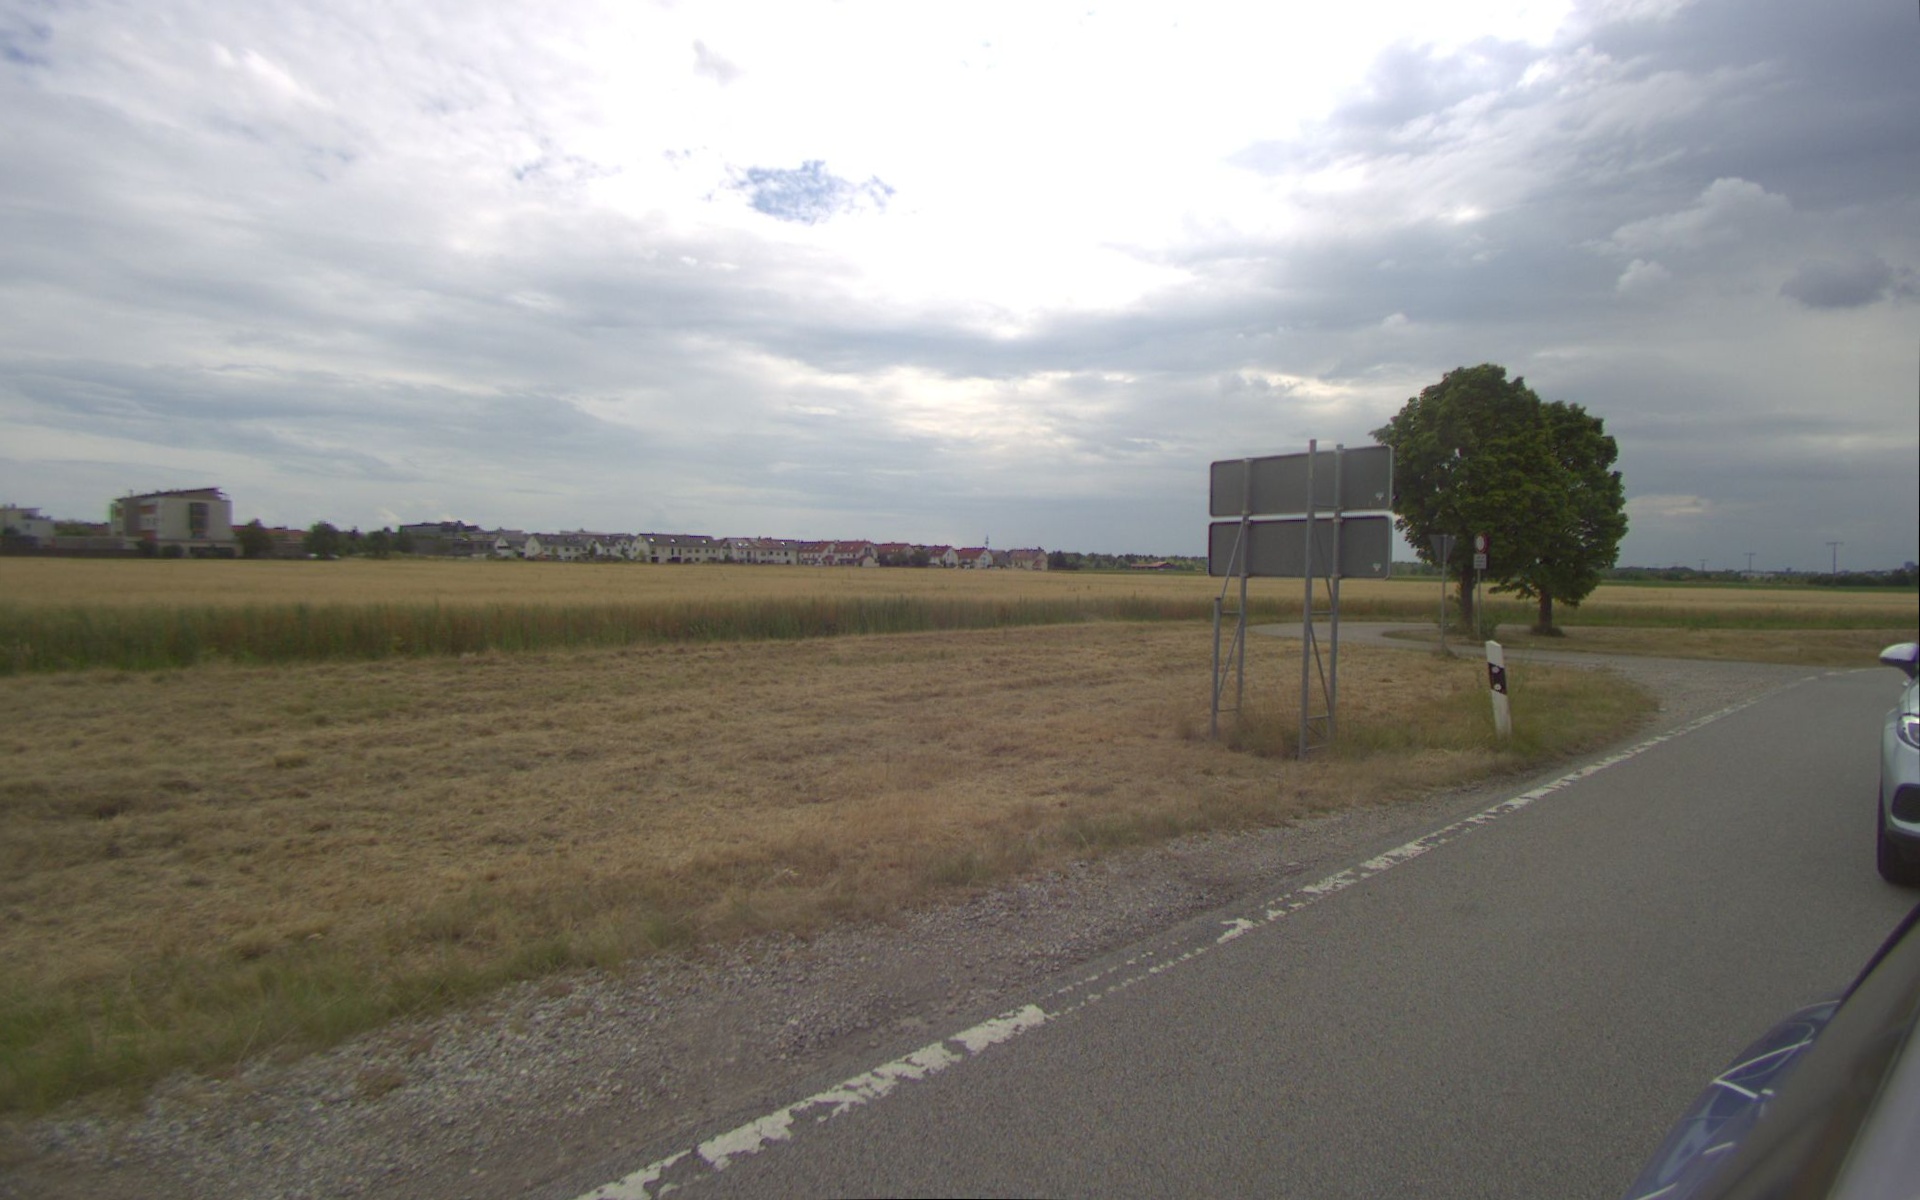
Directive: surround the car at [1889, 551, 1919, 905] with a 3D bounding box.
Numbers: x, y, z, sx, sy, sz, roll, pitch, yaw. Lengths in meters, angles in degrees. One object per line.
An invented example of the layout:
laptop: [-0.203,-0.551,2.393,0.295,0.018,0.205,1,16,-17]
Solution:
car: [6.507,0.608,5.500,4.375,1.606,1.834,0,1,-44]
